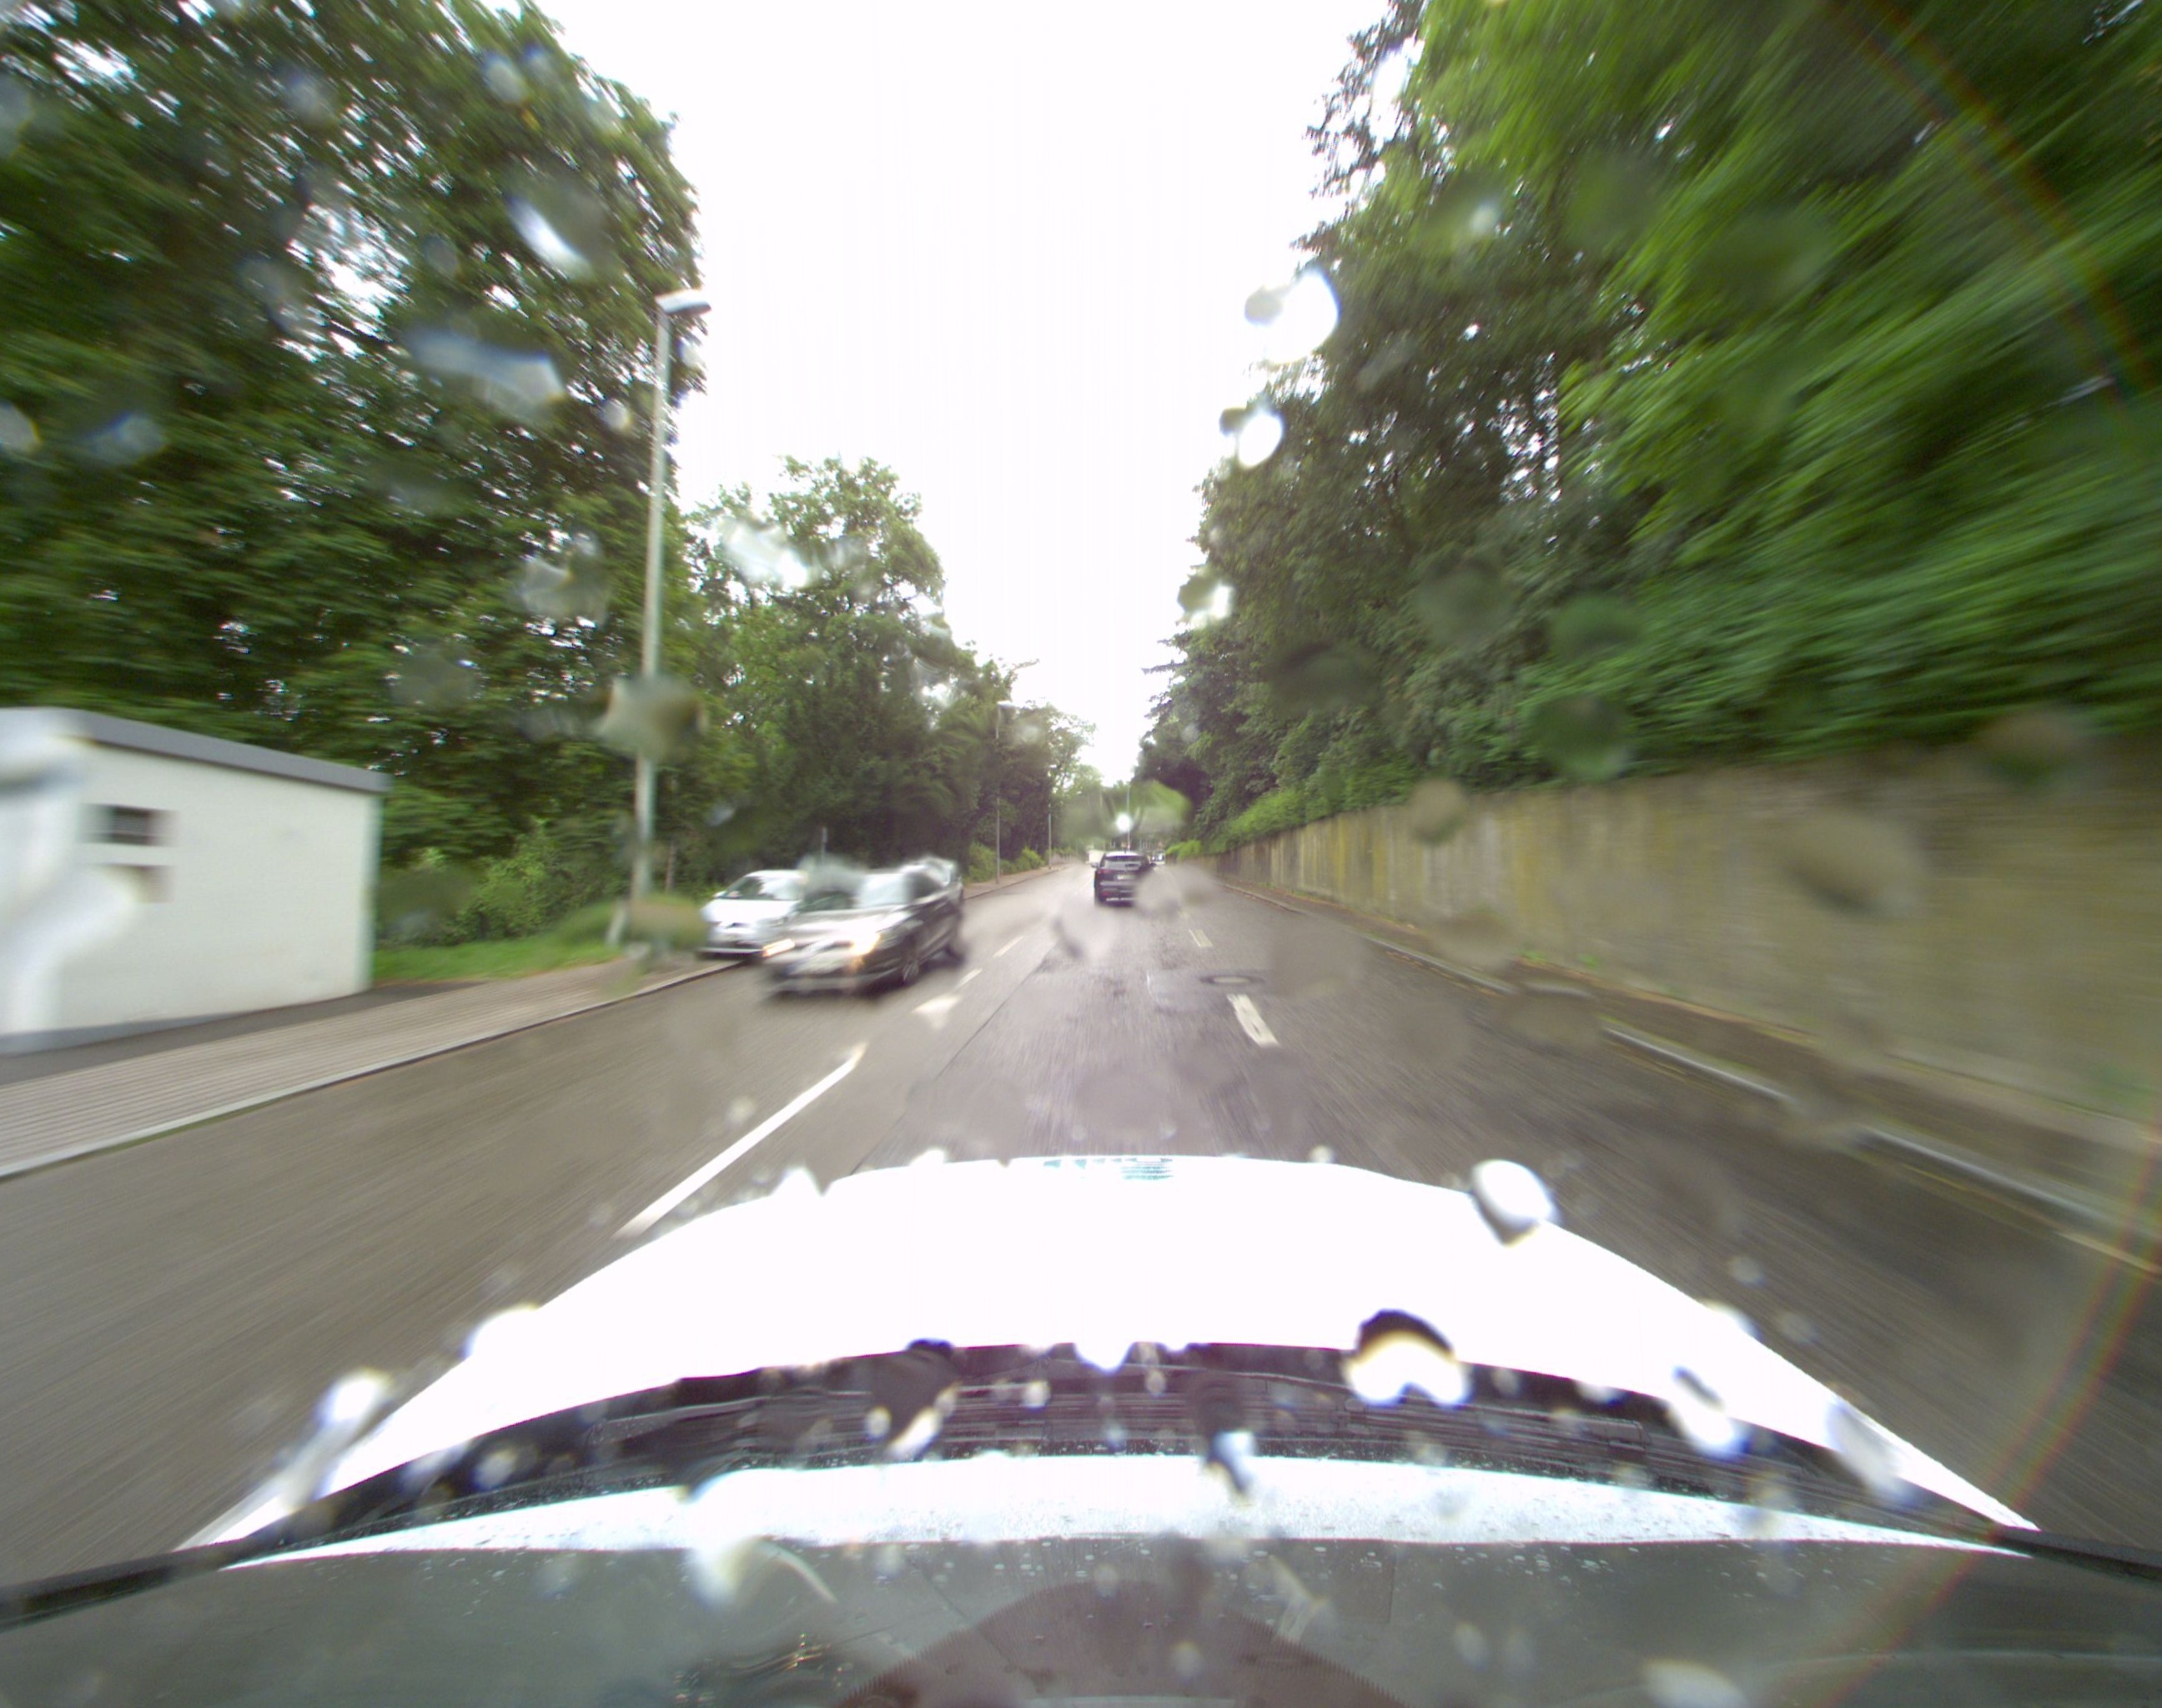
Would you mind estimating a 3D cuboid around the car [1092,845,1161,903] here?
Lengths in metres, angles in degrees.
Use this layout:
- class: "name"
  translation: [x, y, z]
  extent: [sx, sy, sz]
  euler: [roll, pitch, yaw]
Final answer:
- class: "car"
  translation: [1.361, 0.553, 24.956]
  extent: [1.920, 1.613, 4.003]
  euler: [-1, 0, 2]

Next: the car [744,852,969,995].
- class: "car"
  translation: [-2.773, 0.769, 11.046]
  extent: [1.754, 1.491, 4.002]
  euler: [-3, 0, 2]

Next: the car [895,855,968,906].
- class: "car"
  translation: [-4.840, 0.816, 26.837]
  extent: [1.621, 1.499, 3.928]
  euler: [1, 0, 0]

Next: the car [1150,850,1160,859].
- class: "car"
  translation: [14.878, 0.023, 163.288]
  extent: [1.820, 1.711, 4.009]
  euler: [-1, 0, 8]

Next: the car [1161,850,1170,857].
- class: "car"
  translation: [17.639, -0.088, 170.276]
  extent: [1.666, 1.496, 3.468]
  euler: [-1, 0, 8]

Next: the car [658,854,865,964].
- class: "car"
  translation: [-5.646, 0.878, 15.068]
  extent: [1.878, 1.611, 4.243]
  euler: [-4, 0, 3]
